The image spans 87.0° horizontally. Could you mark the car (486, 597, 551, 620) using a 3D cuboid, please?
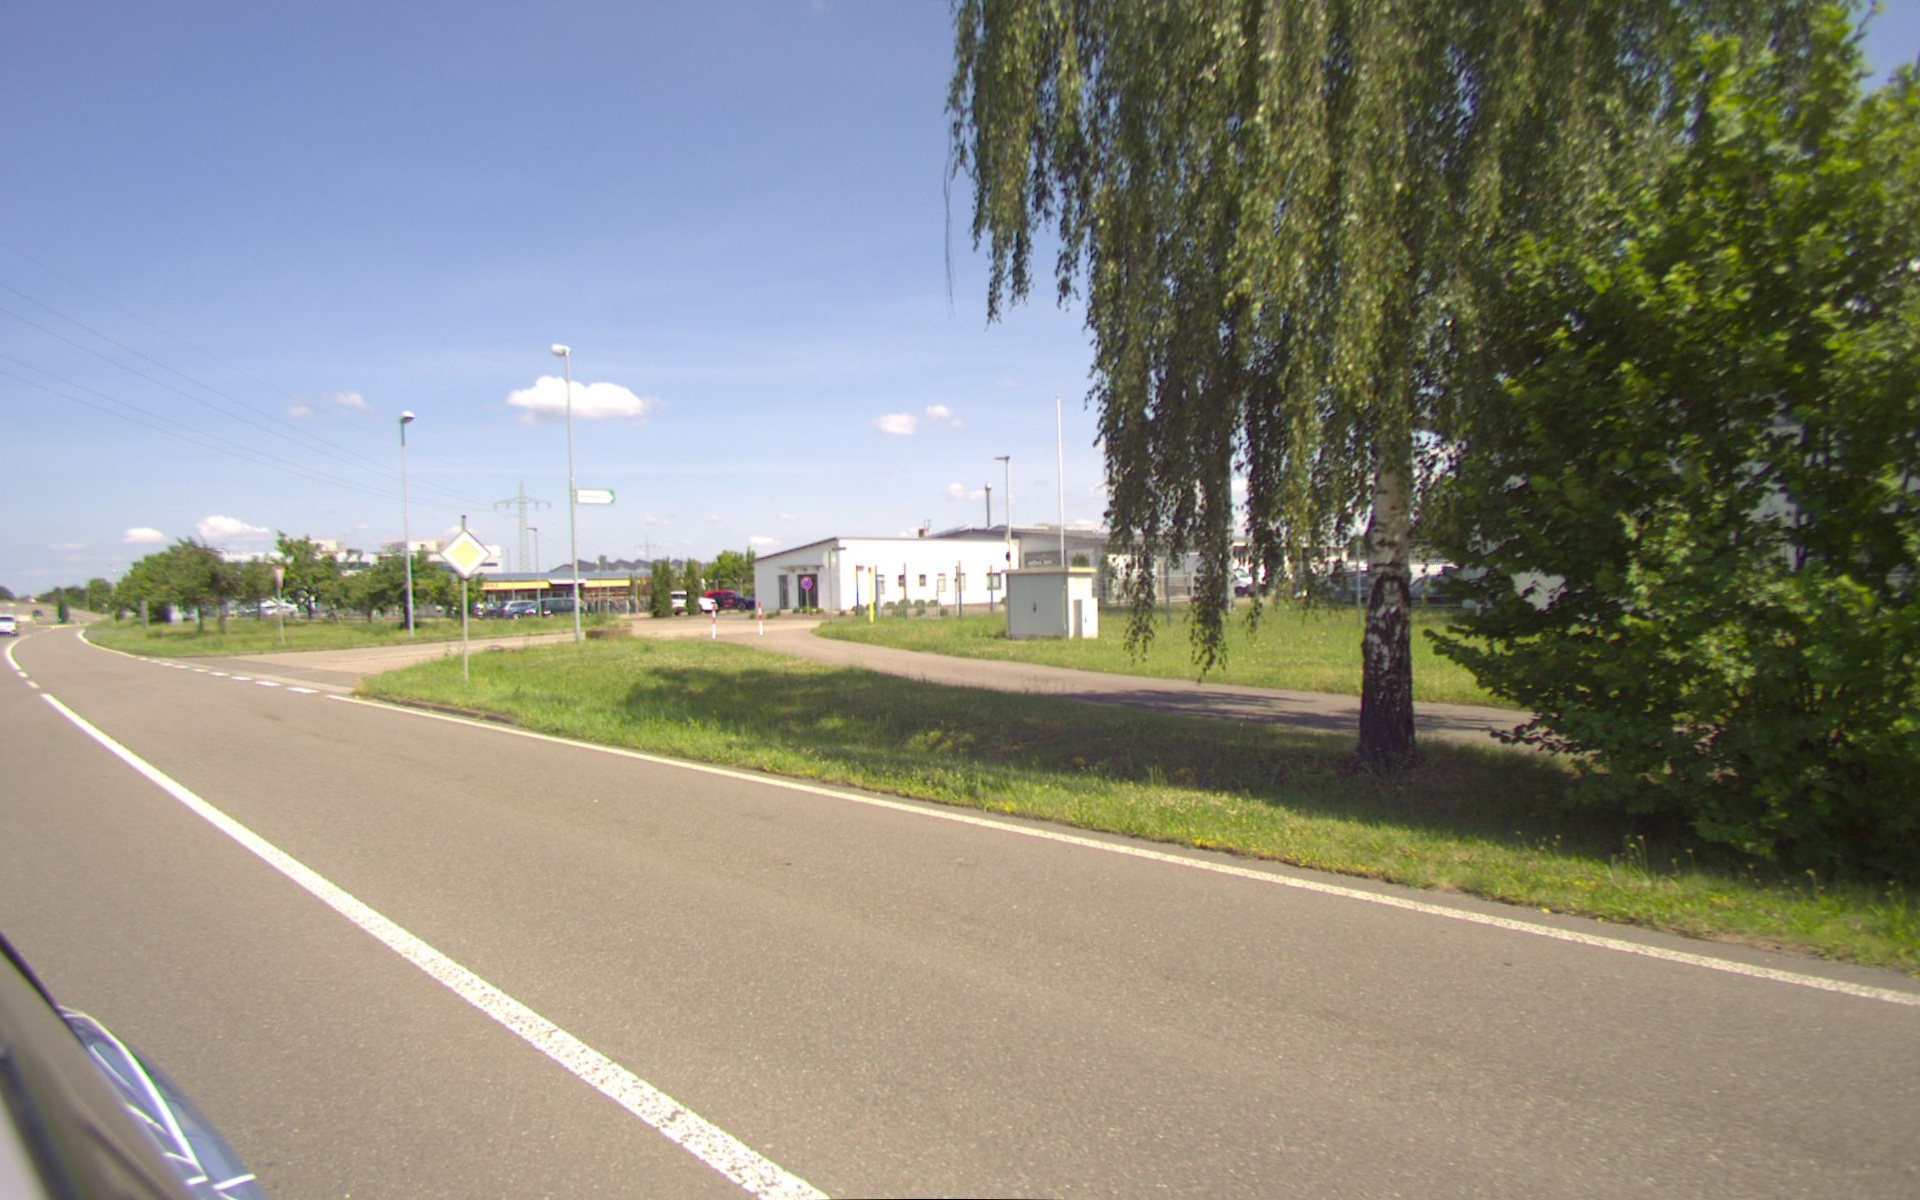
[{"bbox_3d":[-33.578,0.650,77.037,1.871,1.656,4.165,-1,0,42],"label":"car"}]

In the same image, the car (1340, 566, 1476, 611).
[{"bbox_3d":[16.580,-0.400,37.570,1.842,1.552,4.229,-1,0,-43],"label":"car"}]

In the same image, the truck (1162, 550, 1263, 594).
[{"bbox_3d":[19.038,-2.021,76.483,6.740,3.105,2.981,-1,0,41],"label":"truck"}]

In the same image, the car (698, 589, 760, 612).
[{"bbox_3d":[-16.923,0.057,74.262,3.956,1.597,1.994,-1,0,11],"label":"car"}]

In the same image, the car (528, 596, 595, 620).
[{"bbox_3d":[-29.248,0.593,74.308,1.871,1.656,4.165,-1,0,42],"label":"car"}]

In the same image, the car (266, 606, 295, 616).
[{"bbox_3d":[-124.001,1.946,184.650,1.871,1.699,4.165,-1,0,42],"label":"car"}]

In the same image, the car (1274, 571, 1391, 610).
[{"bbox_3d":[15.574,-0.388,42.469,1.842,1.552,4.229,-1,0,-43],"label":"car"}]

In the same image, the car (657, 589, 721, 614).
[{"bbox_3d":[-19.199,0.121,71.657,3.969,1.663,1.987,-1,0,19],"label":"car"}]

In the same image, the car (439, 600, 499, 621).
[{"bbox_3d":[-41.088,0.877,84.761,1.871,1.699,4.165,-1,0,42],"label":"car"}]

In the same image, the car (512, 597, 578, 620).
[{"bbox_3d":[-31.032,0.627,75.740,1.871,1.677,4.165,-1,0,42],"label":"car"}]

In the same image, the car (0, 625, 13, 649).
[{"bbox_3d":[-78.622,3.012,82.507,1.809,1.820,4.838,0,-1,-40],"label":"car"}]
